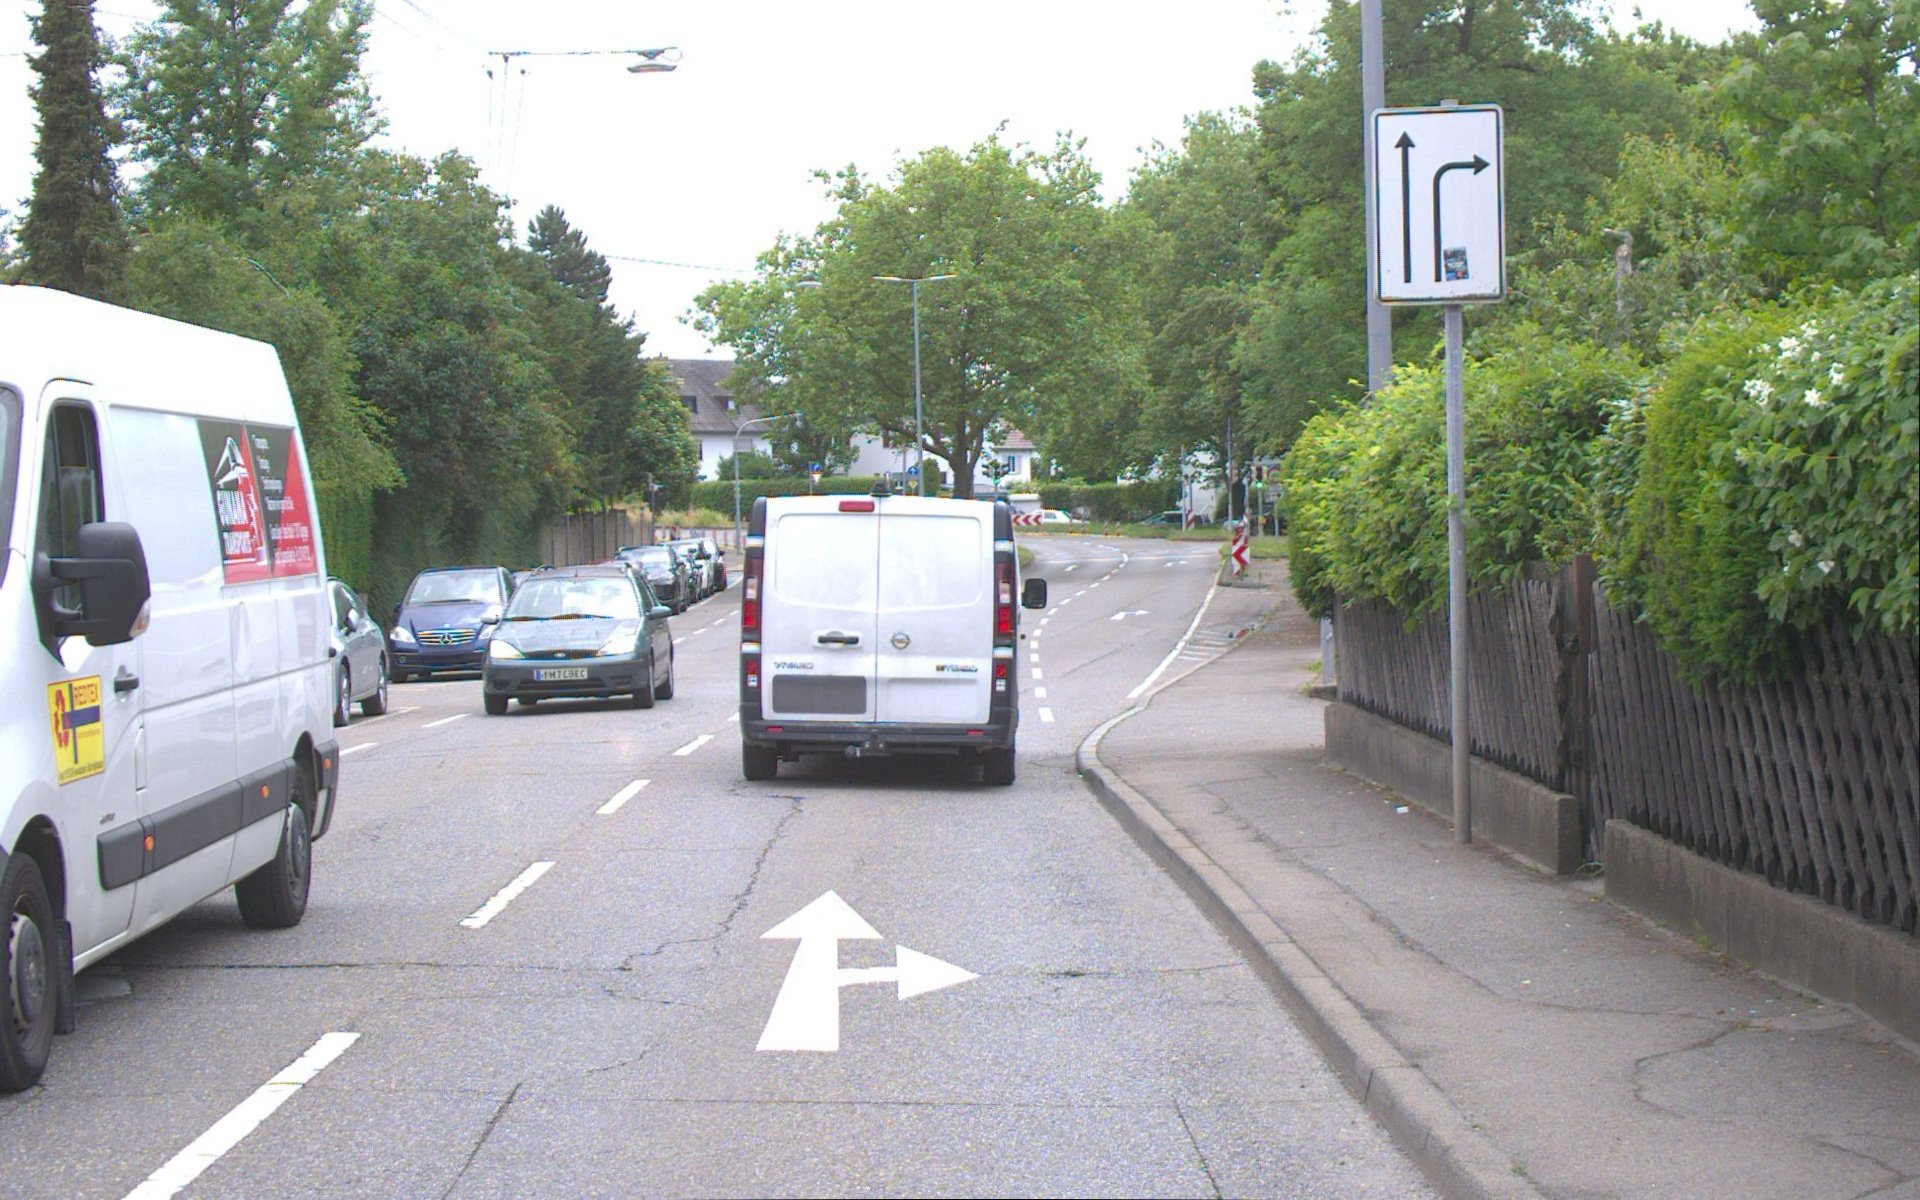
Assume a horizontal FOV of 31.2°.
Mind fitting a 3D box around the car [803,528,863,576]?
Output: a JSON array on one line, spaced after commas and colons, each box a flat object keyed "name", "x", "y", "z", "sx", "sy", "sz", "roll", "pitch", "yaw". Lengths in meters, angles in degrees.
[{"name": "car", "x": -4.548, "y": -1.722, "z": 123.824, "sx": 1.842, "sy": 1.641, "sz": 4.213, "roll": -1, "pitch": 1, "yaw": 2}]

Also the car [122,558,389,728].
[{"name": "car", "x": -6.912, "y": 0.371, "z": 34.159, "sx": 1.809, "sy": 1.450, "sz": 4.414, "roll": -3, "pitch": 1, "yaw": -2}]

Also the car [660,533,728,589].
[{"name": "car", "x": -8.097, "y": -1.207, "z": 104.964, "sx": 1.887, "sy": 1.619, "sz": 4.431, "roll": -1, "pitch": 1, "yaw": -2}]

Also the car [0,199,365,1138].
[{"name": "car", "x": -3.633, "y": 0.139, "z": 11.822, "sx": 2.111, "sy": 2.490, "sz": 6.125, "roll": -1, "pitch": 1, "yaw": 0}]

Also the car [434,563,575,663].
[{"name": "car", "x": -7.592, "y": 0.192, "z": 57.667, "sx": 1.889, "sy": 1.489, "sz": 4.027, "roll": -3, "pitch": 1, "yaw": -2}]

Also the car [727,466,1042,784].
[{"name": "car", "x": -0.570, "y": 0.113, "z": 24.819, "sx": 2.006, "sy": 2.031, "sz": 5.010, "roll": 1, "pitch": 1, "yaw": -2}]

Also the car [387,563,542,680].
[{"name": "car", "x": -7.119, "y": 0.277, "z": 49.702, "sx": 1.678, "sy": 1.551, "sz": 3.972, "roll": -3, "pitch": 1, "yaw": -1}]

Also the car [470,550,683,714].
[{"name": "car", "x": -3.938, "y": 0.283, "z": 35.959, "sx": 1.734, "sy": 1.548, "sz": 4.448, "roll": -1, "pitch": 1, "yaw": 0}]

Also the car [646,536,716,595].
[{"name": "car", "x": -8.056, "y": -1.021, "z": 99.621, "sx": 1.672, "sy": 1.586, "sz": 4.097, "roll": -3, "pitch": 2, "yaw": 0}]

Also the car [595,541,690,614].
[{"name": "car", "x": -7.651, "y": -0.561, "z": 83.201, "sx": 1.993, "sy": 1.637, "sz": 4.467, "roll": -2, "pitch": 1, "yaw": -2}]
